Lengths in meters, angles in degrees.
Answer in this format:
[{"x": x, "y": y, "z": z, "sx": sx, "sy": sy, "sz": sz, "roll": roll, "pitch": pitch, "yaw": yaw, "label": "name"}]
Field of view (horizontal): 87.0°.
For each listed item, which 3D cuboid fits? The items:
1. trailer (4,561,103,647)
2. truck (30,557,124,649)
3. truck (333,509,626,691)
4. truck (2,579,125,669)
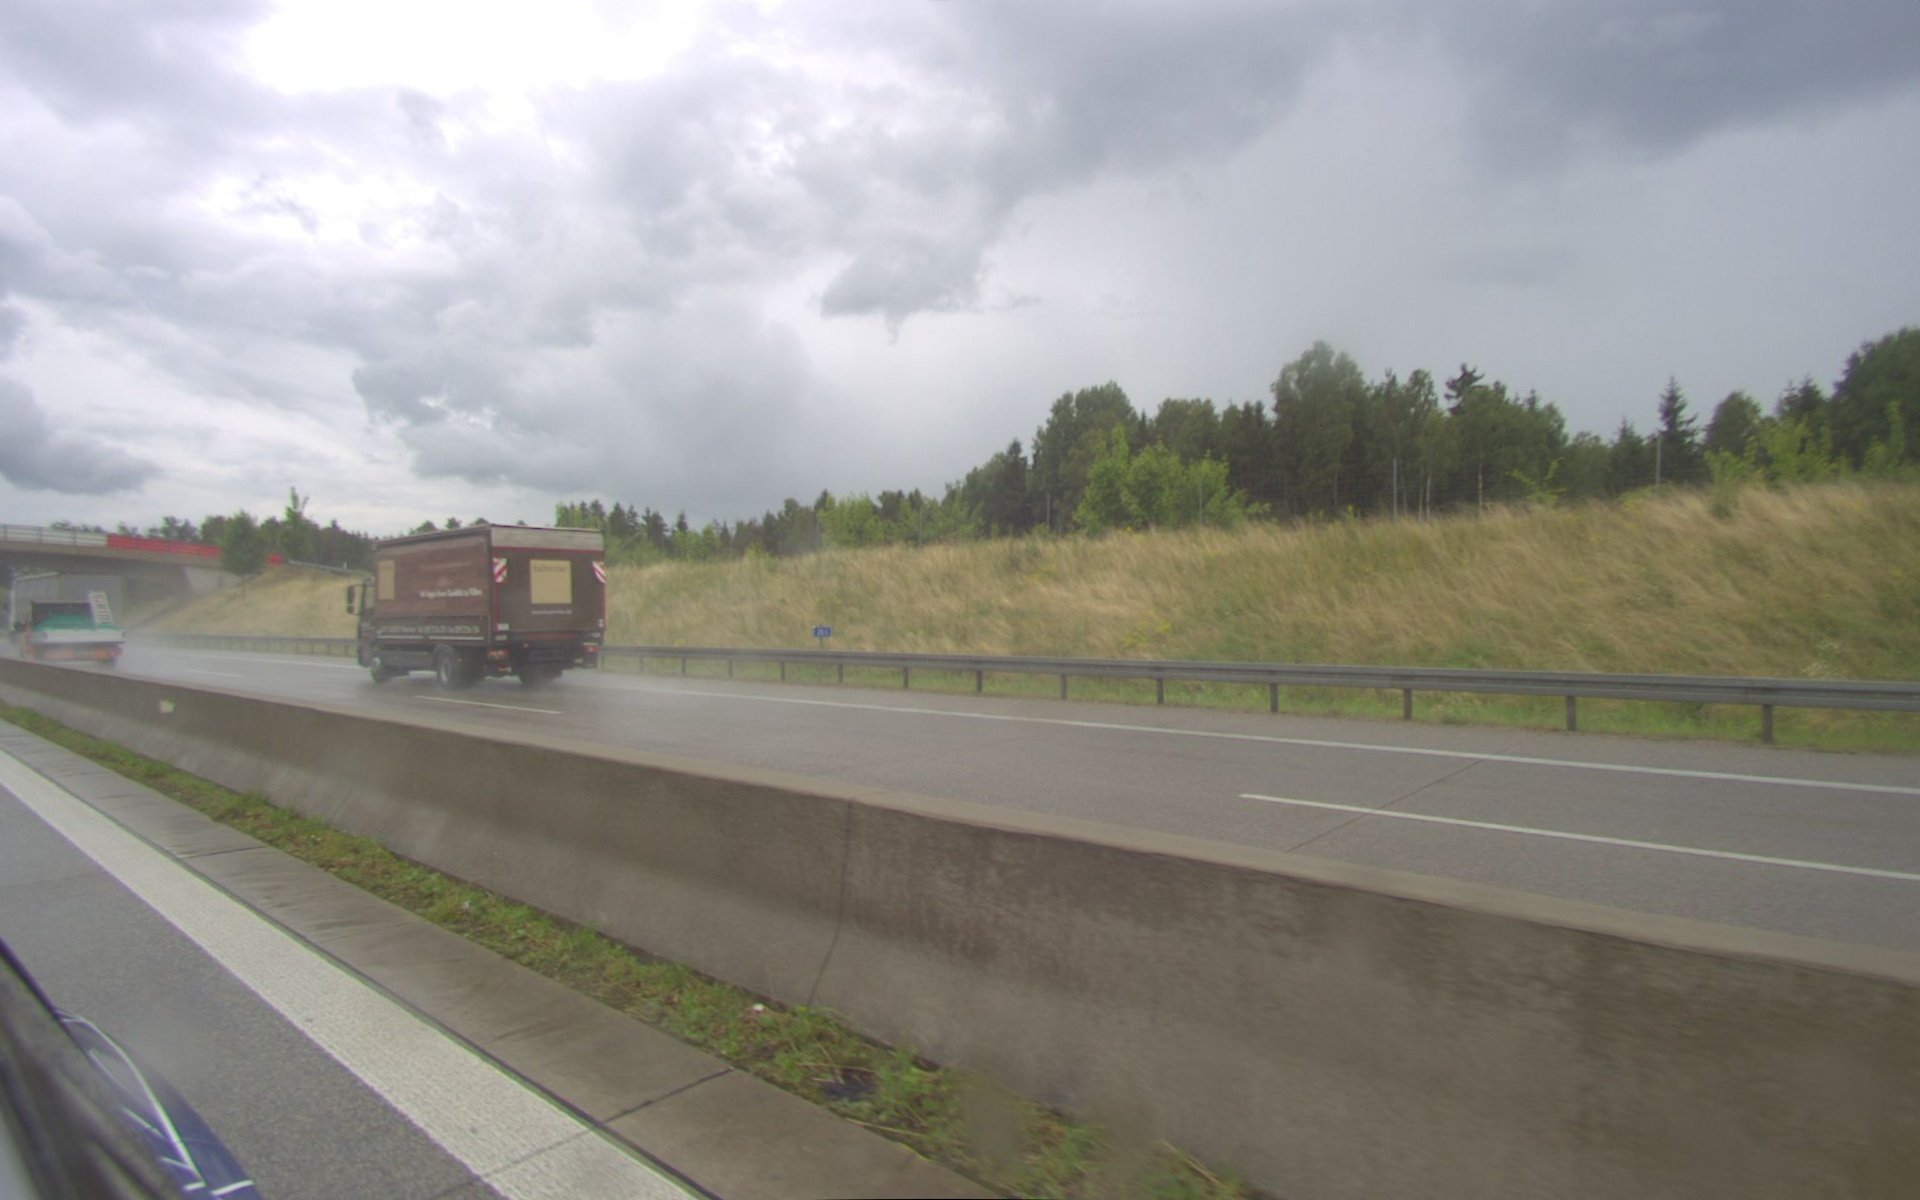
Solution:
[{"x": -52.523, "y": 0.306, "z": 58.509, "sx": 11.331, "sy": 4.555, "sz": 2.818, "roll": -1, "pitch": 0, "yaw": 41, "label": "trailer"}, {"x": -46.583, "y": 0.190, "z": 53.324, "sx": 6.621, "sy": 4.555, "sz": 2.792, "roll": -1, "pitch": 0, "yaw": 41, "label": "truck"}, {"x": -11.501, "y": 0.078, "z": 23.743, "sx": 8.360, "sy": 3.560, "sz": 3.135, "roll": -1, "pitch": -1, "yaw": 41, "label": "truck"}, {"x": -30.404, "y": 0.802, "z": 34.259, "sx": 6.157, "sy": 2.803, "sz": 2.308, "roll": -1, "pitch": -1, "yaw": 41, "label": "truck"}]
